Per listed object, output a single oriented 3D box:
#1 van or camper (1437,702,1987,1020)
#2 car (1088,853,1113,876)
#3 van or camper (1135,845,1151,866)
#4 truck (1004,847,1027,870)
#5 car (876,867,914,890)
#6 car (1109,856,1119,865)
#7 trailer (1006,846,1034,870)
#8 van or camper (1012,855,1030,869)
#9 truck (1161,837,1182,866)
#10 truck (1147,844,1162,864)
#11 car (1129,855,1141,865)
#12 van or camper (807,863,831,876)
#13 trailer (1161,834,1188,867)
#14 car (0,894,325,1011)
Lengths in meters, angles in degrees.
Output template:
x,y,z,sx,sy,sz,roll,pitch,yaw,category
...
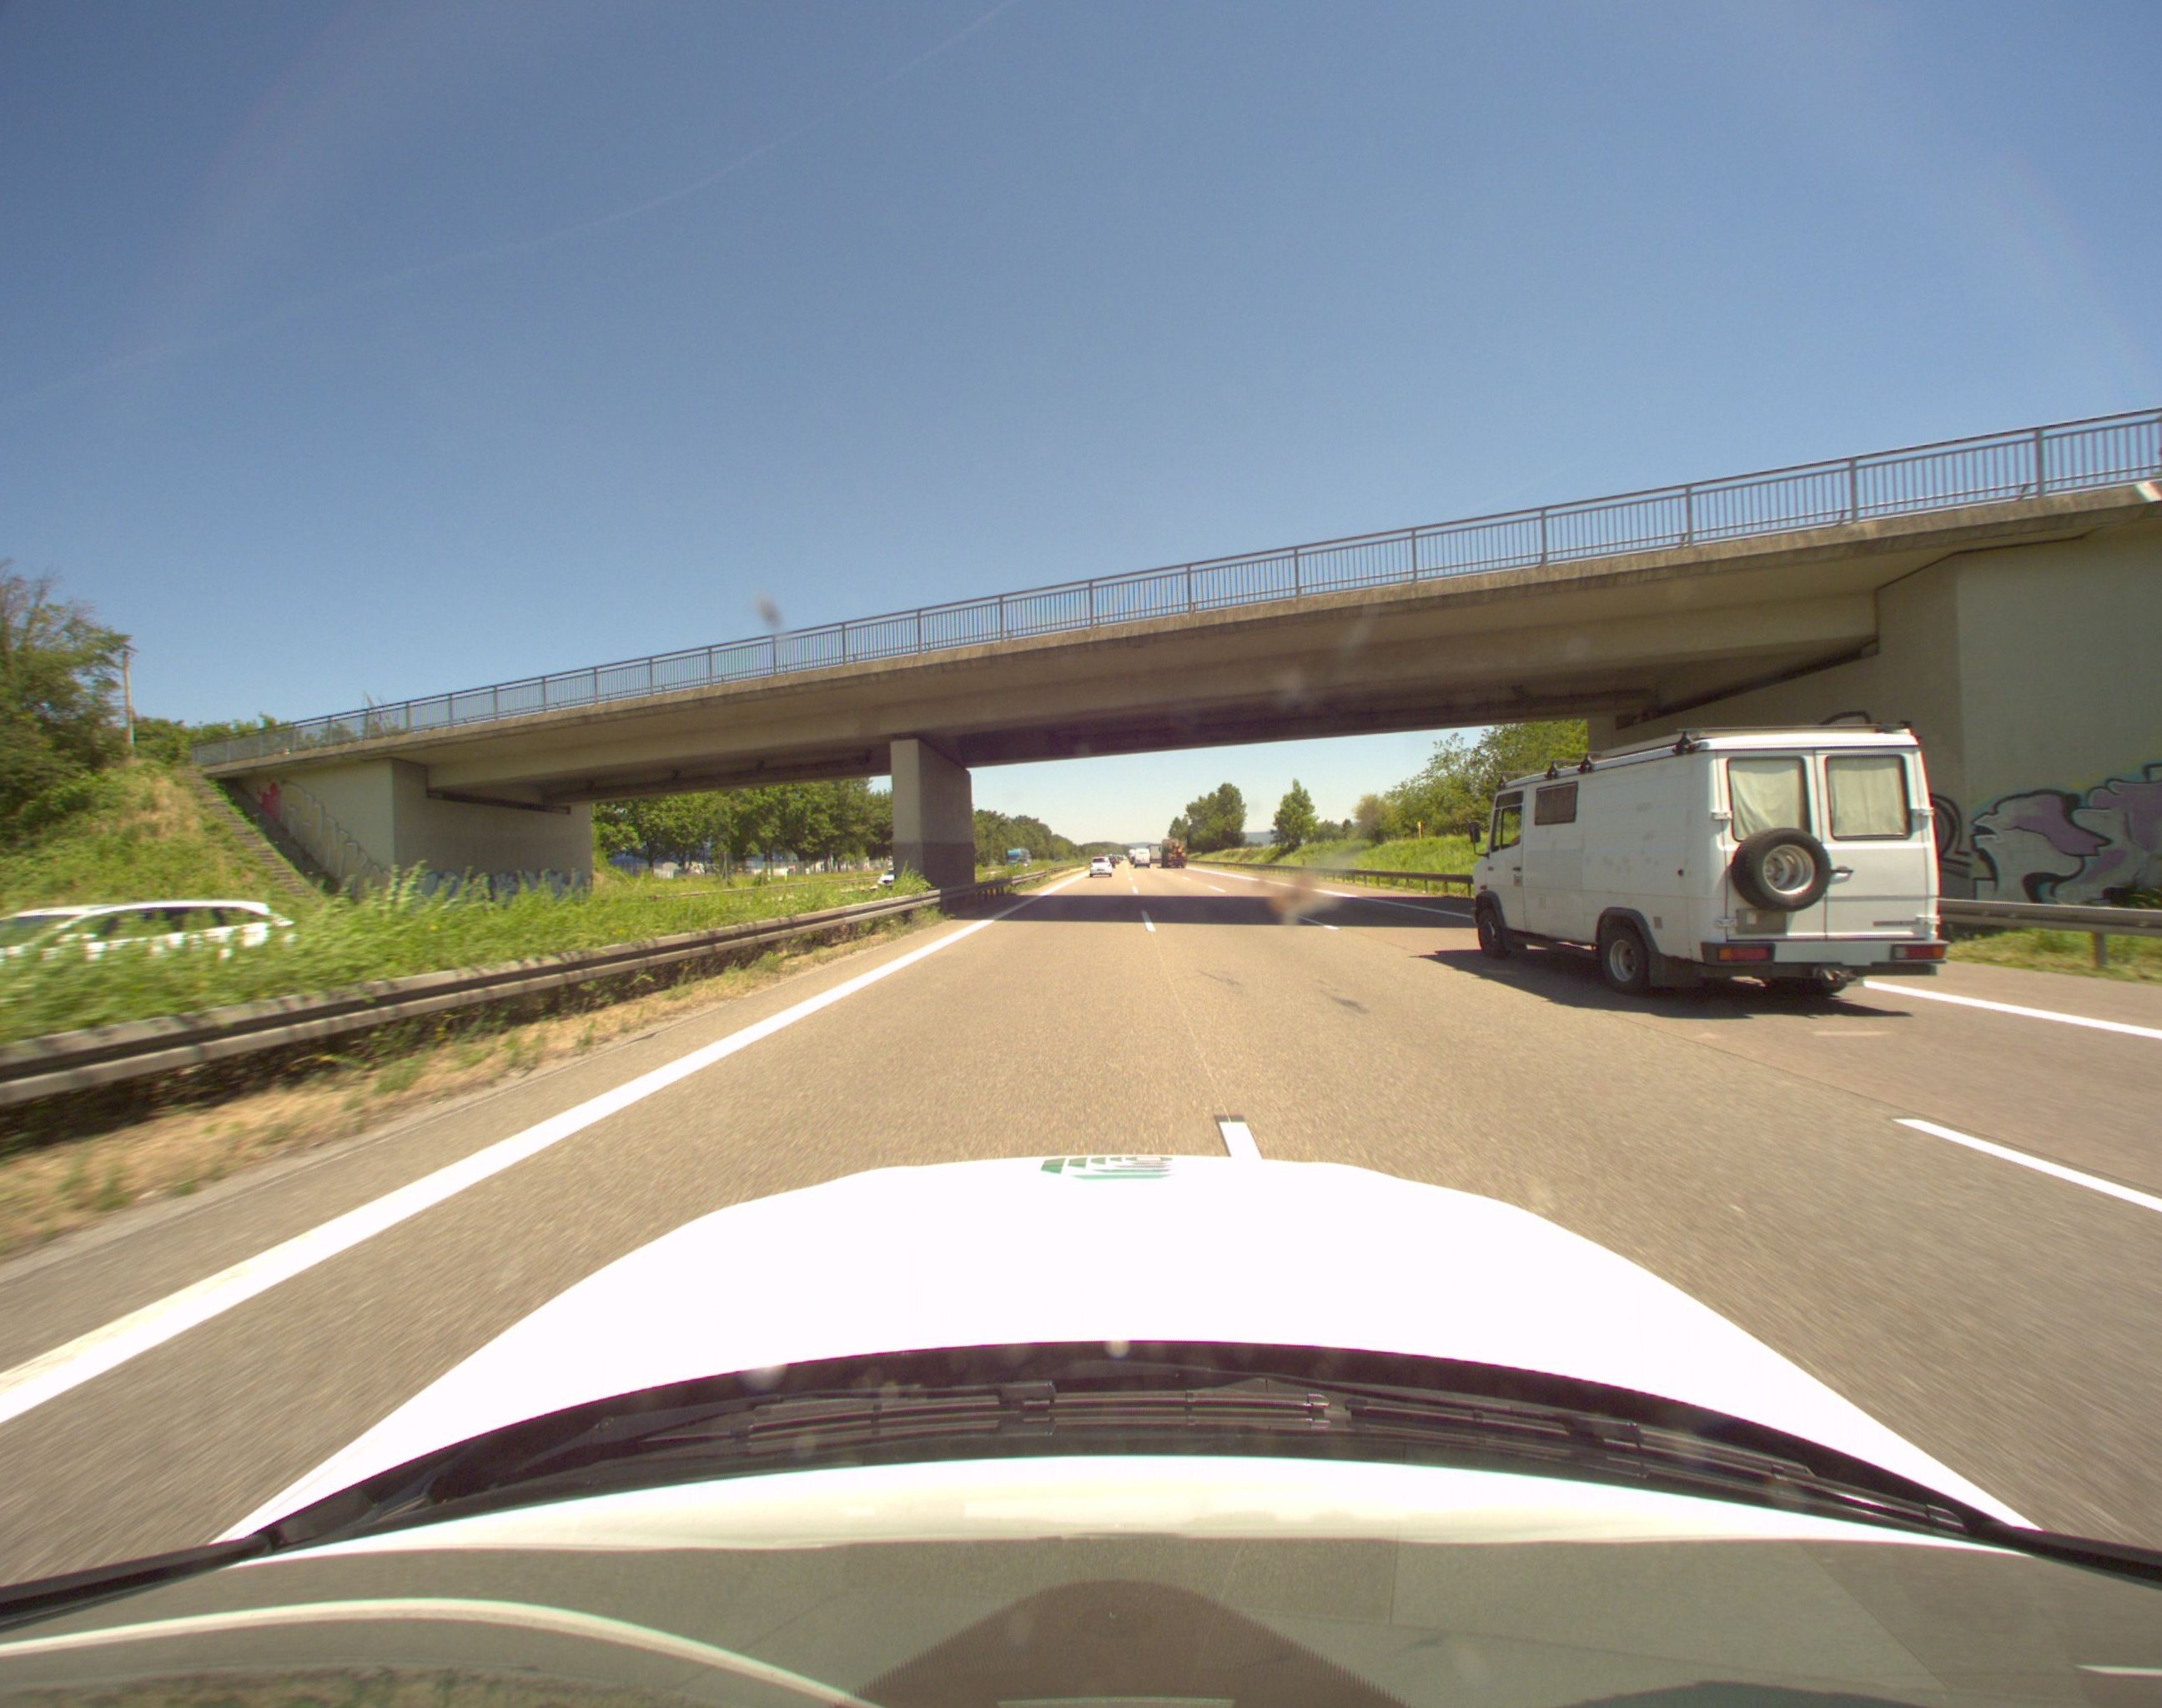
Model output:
x,y,z,sx,sy,sz,roll,pitch,yaw,category
6.773,0.087,10.152,2.105,2.703,6.371,-1,0,2,van or camper
1.518,0.798,62.337,1.850,1.652,4.002,0,0,2,car
8.166,0.251,107.789,2.049,2.622,5.990,-1,0,3,van or camper
-11.753,0.817,146.986,2.867,3.975,7.376,-4,-1,2,truck
-11.712,1.542,51.450,1.508,1.387,3.170,0,0,4,car
6.473,1.233,159.989,1.850,1.652,4.002,-1,0,2,car
-11.390,0.796,153.453,2.867,3.978,17.484,-4,0,2,trailer
-8.669,1.200,118.530,1.986,1.869,4.458,-3,-1,2,van or camper
12.632,-0.346,114.244,2.658,3.994,6.642,-1,0,3,truck
16.504,0.001,183.516,3.065,4.209,16.860,0,0,4,truck
9.412,1.082,142.117,1.850,1.652,4.002,-1,0,2,car
-54.847,3.130,170.688,2.348,2.552,7.728,-3,-1,2,van or camper
12.194,-0.381,107.212,2.642,3.958,13.648,-1,0,3,trailer
-13.368,1.290,11.773,1.389,1.252,3.587,1,0,3,car
